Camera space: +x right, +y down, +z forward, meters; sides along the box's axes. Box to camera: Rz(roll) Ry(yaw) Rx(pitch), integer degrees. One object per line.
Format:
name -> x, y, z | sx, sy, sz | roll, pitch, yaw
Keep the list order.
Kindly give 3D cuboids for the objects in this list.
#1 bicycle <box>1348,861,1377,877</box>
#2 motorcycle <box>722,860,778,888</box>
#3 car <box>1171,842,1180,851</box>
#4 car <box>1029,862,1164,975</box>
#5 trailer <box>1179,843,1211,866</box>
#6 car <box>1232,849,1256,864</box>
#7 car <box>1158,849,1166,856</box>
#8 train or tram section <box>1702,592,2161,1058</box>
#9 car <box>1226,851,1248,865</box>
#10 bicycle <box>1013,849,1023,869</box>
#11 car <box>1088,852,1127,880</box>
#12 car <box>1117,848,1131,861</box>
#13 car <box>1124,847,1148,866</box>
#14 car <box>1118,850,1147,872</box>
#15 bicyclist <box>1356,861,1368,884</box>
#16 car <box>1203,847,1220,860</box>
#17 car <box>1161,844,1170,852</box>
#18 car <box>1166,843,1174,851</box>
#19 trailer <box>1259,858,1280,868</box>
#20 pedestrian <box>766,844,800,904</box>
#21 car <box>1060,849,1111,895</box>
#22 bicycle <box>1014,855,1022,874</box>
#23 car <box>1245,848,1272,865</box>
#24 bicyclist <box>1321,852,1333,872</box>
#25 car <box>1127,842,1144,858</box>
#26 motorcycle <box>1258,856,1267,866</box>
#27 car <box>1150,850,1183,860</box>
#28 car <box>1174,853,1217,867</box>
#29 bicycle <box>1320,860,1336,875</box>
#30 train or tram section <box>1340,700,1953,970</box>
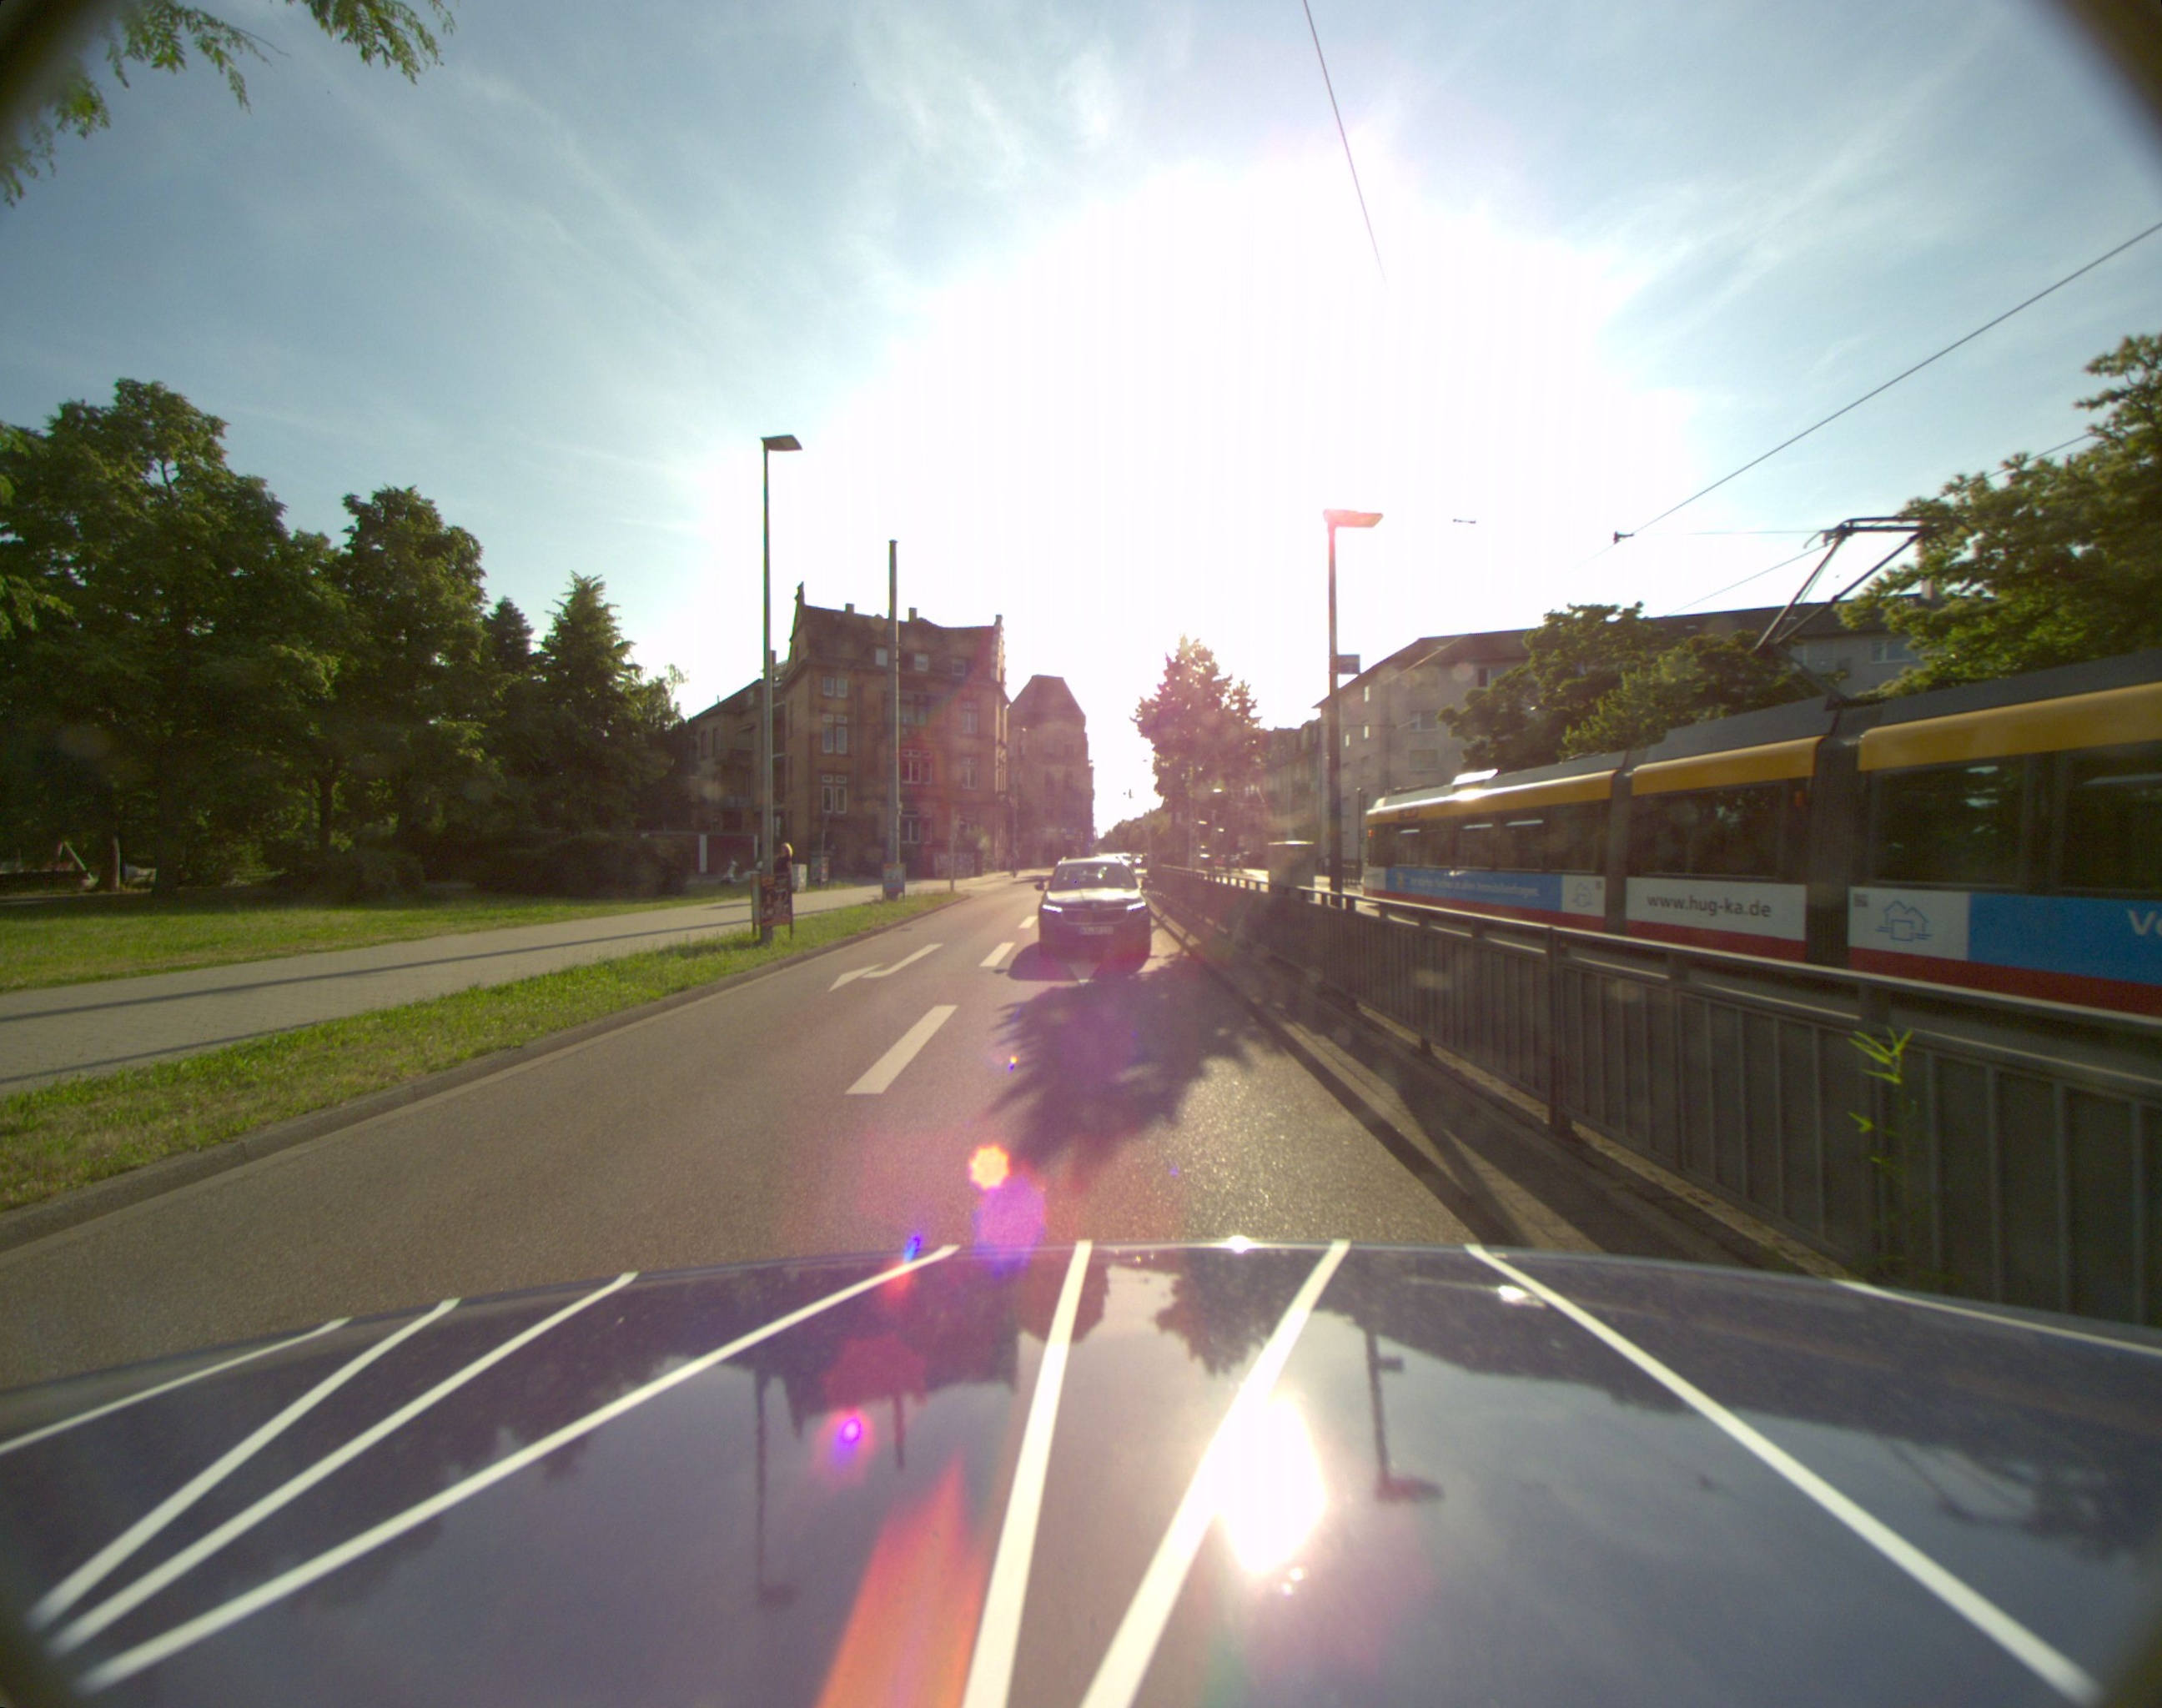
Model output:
bicycle -> 20.463, 1.090, 55.191 | 1.912, 1.104, 0.736 | 0, 1, 22
motorcycle -> -13.847, 0.822, 31.778 | 2.002, 1.153, 0.707 | -1, 1, -4
car -> 22.669, -1.800, 182.483 | 1.998, 2.002, 4.001 | -1, 0, 5
car -> 0.315, 0.897, 12.306 | 1.839, 1.472, 4.001 | 0, 0, 3
trailer -> 11.908, 0.027, 79.234 | 2.858, 2.378, 1.726 | 0, 0, 33
car -> 19.549, 0.269, 91.487 | 2.170, 1.740, 4.611 | -1, 0, 3
car -> 24.326, -0.554, 228.617 | 1.998, 2.002, 4.000 | -1, 0, 1
train or tram section -> 9.573, -0.226, 2.647 | 3.169, 3.459, 14.471 | -1, 0, 1
car -> 19.895, 0.481, 97.005 | 2.170, 1.740, 4.611 | -1, 0, 3
bicycle -> -3.994, 0.315, 47.999 | 0.575, 1.290, 0.688 | -1, 1, -6
car -> 1.585, 0.682, 44.467 | 1.997, 1.565, 4.002 | -1, 0, 6
car -> 6.736, 0.054, 119.773 | 1.998, 2.002, 4.000 | 0, 1, 1
car -> 5.209, 0.212, 72.777 | 1.998, 1.772, 4.000 | 0, 1, 0
car -> 3.895, 0.504, 56.966 | 1.997, 1.565, 4.002 | -1, 0, 6
bicyclist -> 20.406, 1.344, 55.224 | 0.771, 1.633, 0.796 | 1, 1, 22
car -> 20.206, -0.072, 117.913 | 2.170, 1.890, 4.611 | -1, 0, 3
car -> 22.928, -1.629, 205.960 | 1.998, 2.002, 4.000 | -1, 0, 1
car -> 22.714, -1.882, 193.866 | 1.998, 2.002, 4.001 | -1, 0, 5
trailer -> 19.407, 0.907, 78.355 | 1.444, 0.891, 2.879 | -4, 0, 2
pedestrian -> -8.770, 0.585, 22.381 | 0.616, 1.682, 0.549 | 5, 1, 5
car -> 0.204, 0.709, 32.155 | 1.998, 1.827, 4.000 | -1, 0, 1
bicycle -> -3.998, 0.635, 48.052 | 0.484, 1.183, 1.338 | -1, 0, -5
car -> 19.748, 0.276, 84.879 | 2.170, 1.740, 4.719 | -1, 0, 3
bicyclist -> 17.582, 0.554, 54.281 | 0.652, 1.405, 0.717 | -1, 1, 4
car -> 6.862, -0.481, 95.958 | 1.998, 2.002, 4.000 | 0, 1, 1
motorcycle -> 19.277, 0.750, 80.875 | 0.637, 1.074, 1.734 | -1, 0, 3
car -> 12.528, 0.120, 111.532 | 4.259, 1.414, 2.176 | -1, 0, 43
car -> 11.428, 0.588, 76.001 | 3.941, 1.352, 1.676 | 1, 1, 38
bicycle -> 17.620, 0.948, 54.211 | 0.543, 1.012, 2.251 | -1, 0, 4
train or tram section -> 9.826, -0.252, 17.134 | 3.169, 3.459, 14.532 | -1, 0, 1
